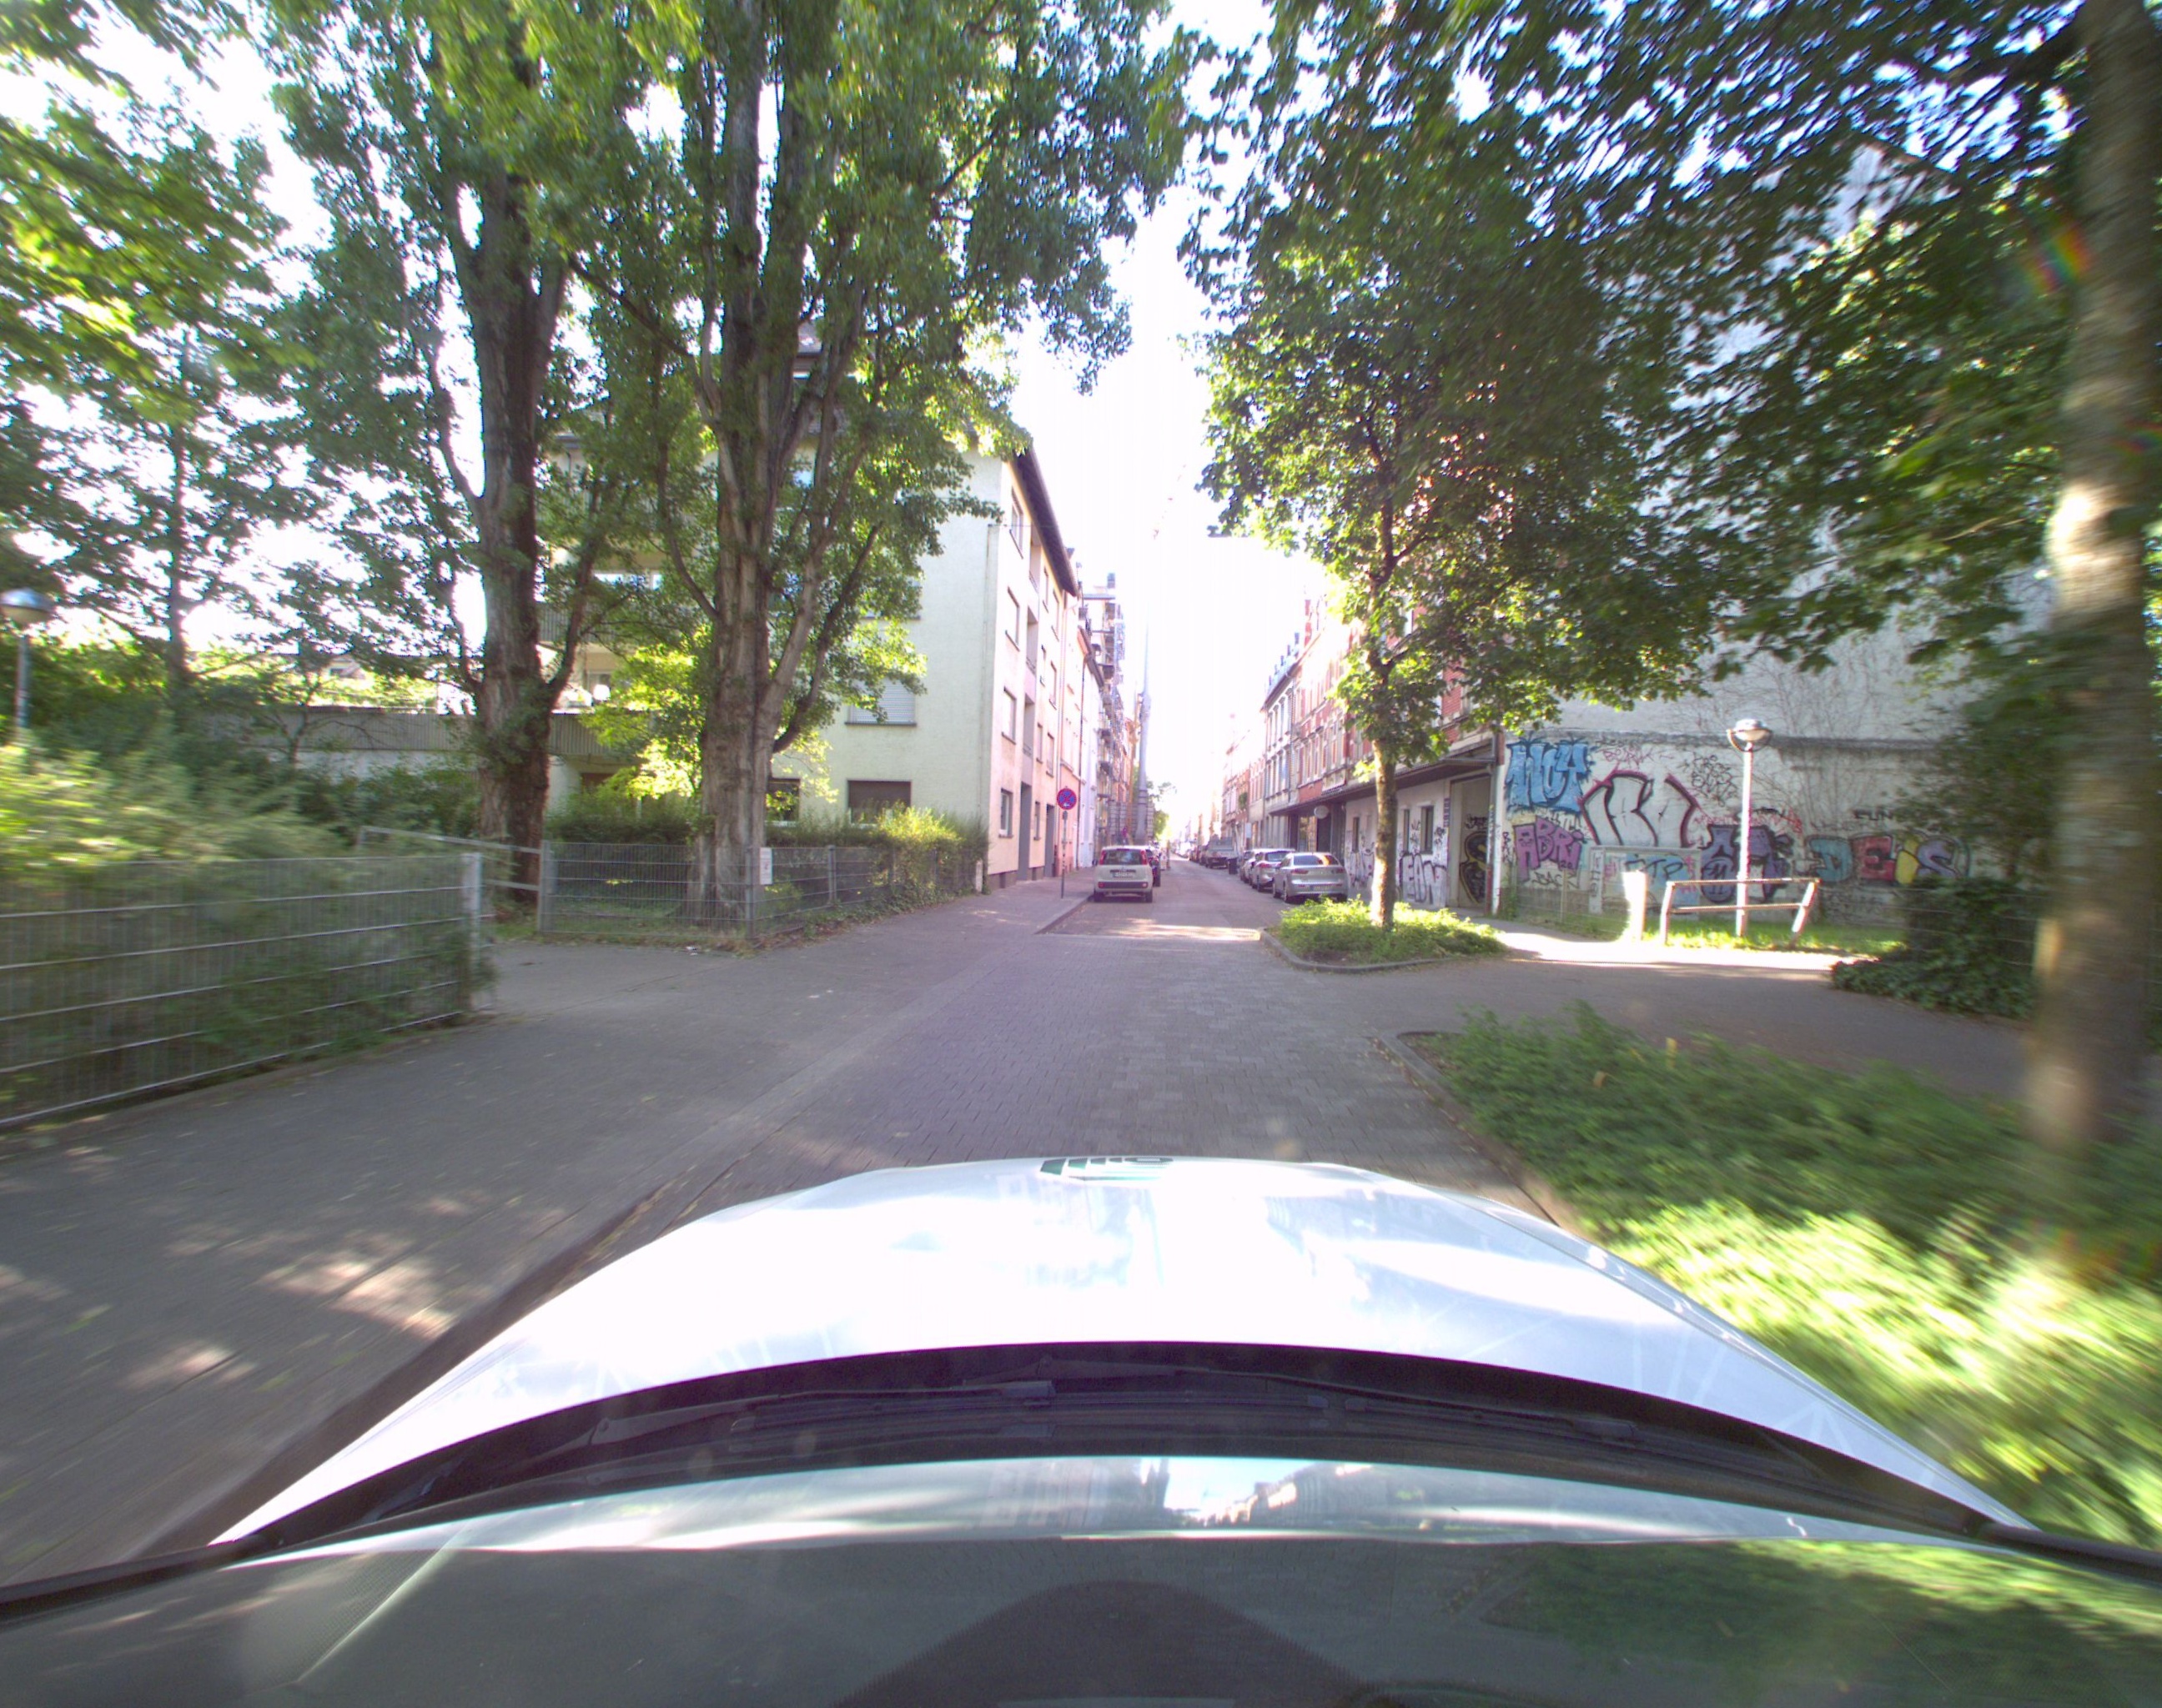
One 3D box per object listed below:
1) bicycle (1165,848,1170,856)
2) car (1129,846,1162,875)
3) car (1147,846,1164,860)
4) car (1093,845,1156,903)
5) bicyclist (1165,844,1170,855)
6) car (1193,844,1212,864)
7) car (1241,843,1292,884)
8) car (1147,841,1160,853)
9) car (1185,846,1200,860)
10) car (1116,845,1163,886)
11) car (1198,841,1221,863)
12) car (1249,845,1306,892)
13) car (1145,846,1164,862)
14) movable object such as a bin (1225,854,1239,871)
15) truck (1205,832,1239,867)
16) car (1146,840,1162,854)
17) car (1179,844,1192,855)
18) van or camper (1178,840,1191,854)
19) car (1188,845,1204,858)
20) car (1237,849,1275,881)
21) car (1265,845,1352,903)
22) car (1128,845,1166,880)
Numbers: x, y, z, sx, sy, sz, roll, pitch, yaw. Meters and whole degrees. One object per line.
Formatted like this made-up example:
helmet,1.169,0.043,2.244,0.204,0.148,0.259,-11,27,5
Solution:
bicycle,13.497,-0.358,127.327,0.721,1.186,2.046,2,1,6
car,3.523,0.314,43.892,1.667,1.477,4.615,1,0,5
car,7.745,-0.110,85.057,1.668,1.445,3.873,1,0,3
car,1.260,0.519,23.488,1.668,1.539,3.873,0,0,3
bicyclist,13.502,-0.745,127.316,0.726,1.761,0.837,0,0,6
car,12.933,-0.048,86.632,1.668,2.031,3.873,1,0,3
car,8.230,0.387,36.428,1.737,1.675,4.349,1,0,7
car,11.514,-1.156,129.482,1.984,1.848,4.005,0,1,4
car,16.973,-0.177,124.407,1.984,2.013,4.005,1,1,4
car,2.314,0.427,32.504,1.722,1.539,4.382,0,0,3
car,11.679,-0.174,74.180,1.668,1.962,4.113,1,0,3
car,7.397,0.502,30.927,1.631,1.656,3.876,1,0,6
car,6.836,-0.020,76.273,1.668,1.445,3.873,1,0,3
movable object such as a bin,9.560,0.555,51.483,0.791,1.056,0.661,1,0,5
truck,10.986,-0.397,63.680,2.180,2.607,5.241,0,1,4
car,8.505,-0.805,95.217,1.668,1.571,3.873,1,0,3
car,17.817,-0.813,138.851,1.984,1.848,4.005,0,1,4
van or camper,19.489,-1.330,152.956,1.986,2.508,4.204,0,0,1
car,14.118,-0.313,99.897,1.668,1.571,3.873,1,0,3
car,8.900,0.518,41.722,1.588,1.560,3.822,1,1,7
car,6.815,0.553,24.794,1.713,1.562,4.404,1,0,4
car,3.120,0.346,38.094,1.667,1.511,4.421,1,0,5
